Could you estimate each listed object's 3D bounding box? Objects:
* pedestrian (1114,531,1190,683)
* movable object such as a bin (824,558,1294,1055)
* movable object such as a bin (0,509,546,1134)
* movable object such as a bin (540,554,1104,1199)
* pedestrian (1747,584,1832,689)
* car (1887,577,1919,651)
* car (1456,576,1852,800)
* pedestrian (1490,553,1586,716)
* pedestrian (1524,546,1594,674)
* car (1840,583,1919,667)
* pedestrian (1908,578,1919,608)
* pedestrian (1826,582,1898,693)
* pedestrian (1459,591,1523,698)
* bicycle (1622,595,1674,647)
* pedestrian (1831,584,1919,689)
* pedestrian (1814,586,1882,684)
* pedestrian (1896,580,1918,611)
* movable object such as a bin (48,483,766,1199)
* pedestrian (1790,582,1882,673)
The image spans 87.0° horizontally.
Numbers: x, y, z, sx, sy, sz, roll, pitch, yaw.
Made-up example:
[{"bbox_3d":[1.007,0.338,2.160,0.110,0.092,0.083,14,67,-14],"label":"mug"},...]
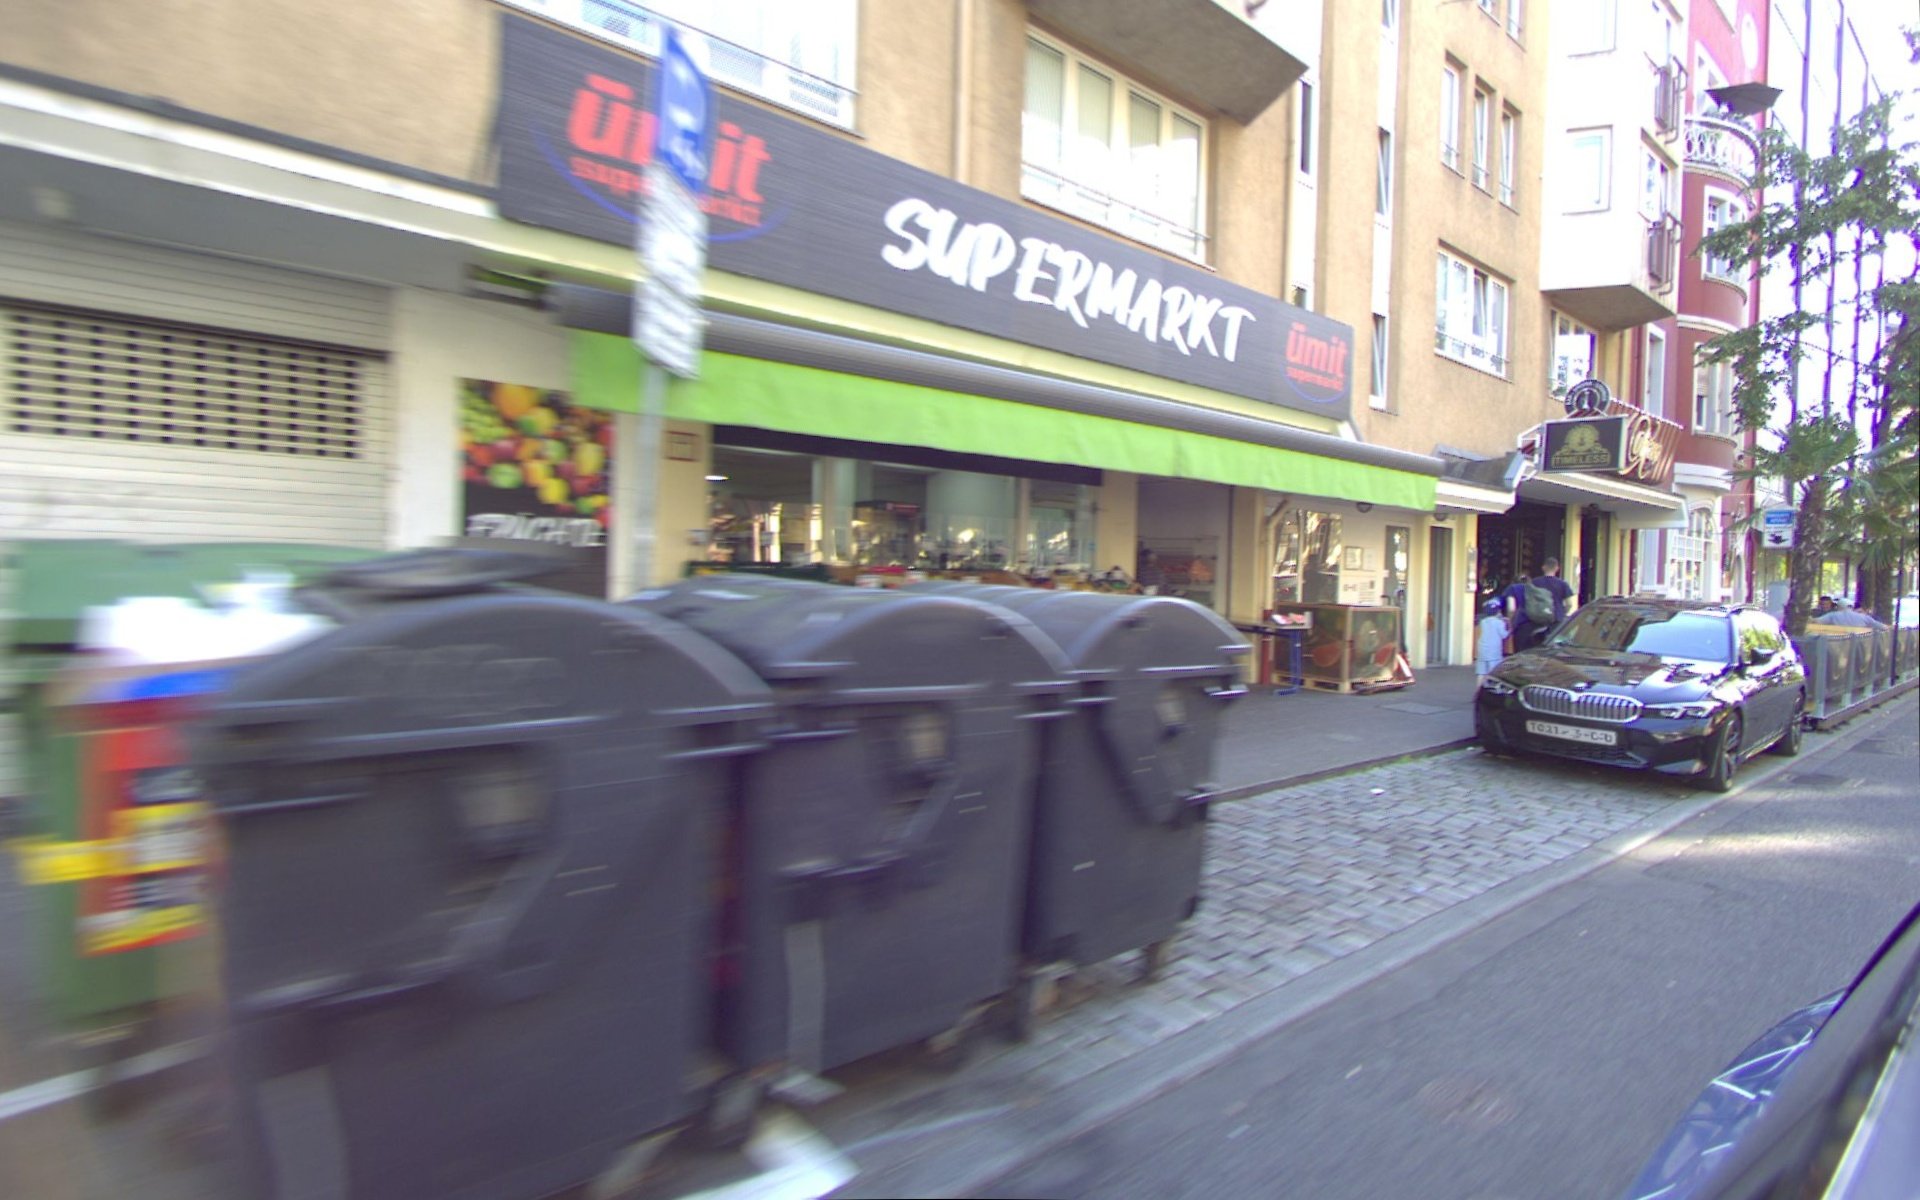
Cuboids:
[{"bbox_3d":[2.166,0.067,11.481,0.606,1.662,0.763,1,2,-7],"label":"pedestrian"},{"bbox_3d":[0.340,0.596,3.923,1.126,1.471,1.402,0,2,-40],"label":"movable object such as a bin"},{"bbox_3d":[-2.122,0.492,3.131,1.272,1.449,1.080,0,2,-41],"label":"movable object such as a bin"},{"bbox_3d":[-0.475,0.615,3.117,1.126,1.471,1.402,0,2,-40],"label":"movable object such as a bin"},{"bbox_3d":[12.780,0.543,15.597,0.753,1.555,0.715,1,2,-26],"label":"pedestrian"},{"bbox_3d":[25.776,0.387,26.104,4.839,1.799,1.828,0,4,-37],"label":"car"},{"bbox_3d":[6.661,0.602,9.473,4.826,1.489,1.826,0,5,-41],"label":"car"},{"bbox_3d":[6.356,0.352,11.131,0.748,1.716,0.618,0,2,-36],"label":"pedestrian"},{"bbox_3d":[8.221,0.125,13.910,0.620,1.716,0.503,2,2,7],"label":"pedestrian"},{"bbox_3d":[20.945,0.515,22.135,4.757,1.615,1.826,0,5,-41],"label":"car"},{"bbox_3d":[54.987,-0.412,58.116,0.701,1.713,0.500,0,1,-13],"label":"pedestrian"},{"bbox_3d":[13.306,0.522,14.927,0.963,1.555,0.651,0,2,-42],"label":"pedestrian"},{"bbox_3d":[6.068,0.491,11.570,0.491,1.177,0.444,0,2,-35],"label":"pedestrian"},{"bbox_3d":[14.430,0.424,21.200,1.671,1.014,0.475,0,2,-41],"label":"bicycle"},{"bbox_3d":[14.268,0.546,15.765,0.791,1.555,0.753,1,2,-26],"label":"pedestrian"},{"bbox_3d":[14.785,0.563,16.858,0.762,1.555,0.694,0,2,-40],"label":"pedestrian"},{"bbox_3d":[54.006,-0.258,57.701,0.701,1.713,0.621,0,1,-13],"label":"pedestrian"},{"bbox_3d":[-1.282,0.588,2.299,1.126,1.561,1.333,0,2,-40],"label":"movable object such as a bin"},{"bbox_3d":[15.889,0.475,18.361,0.875,1.555,1.059,0,2,-36],"label":"pedestrian"}]
